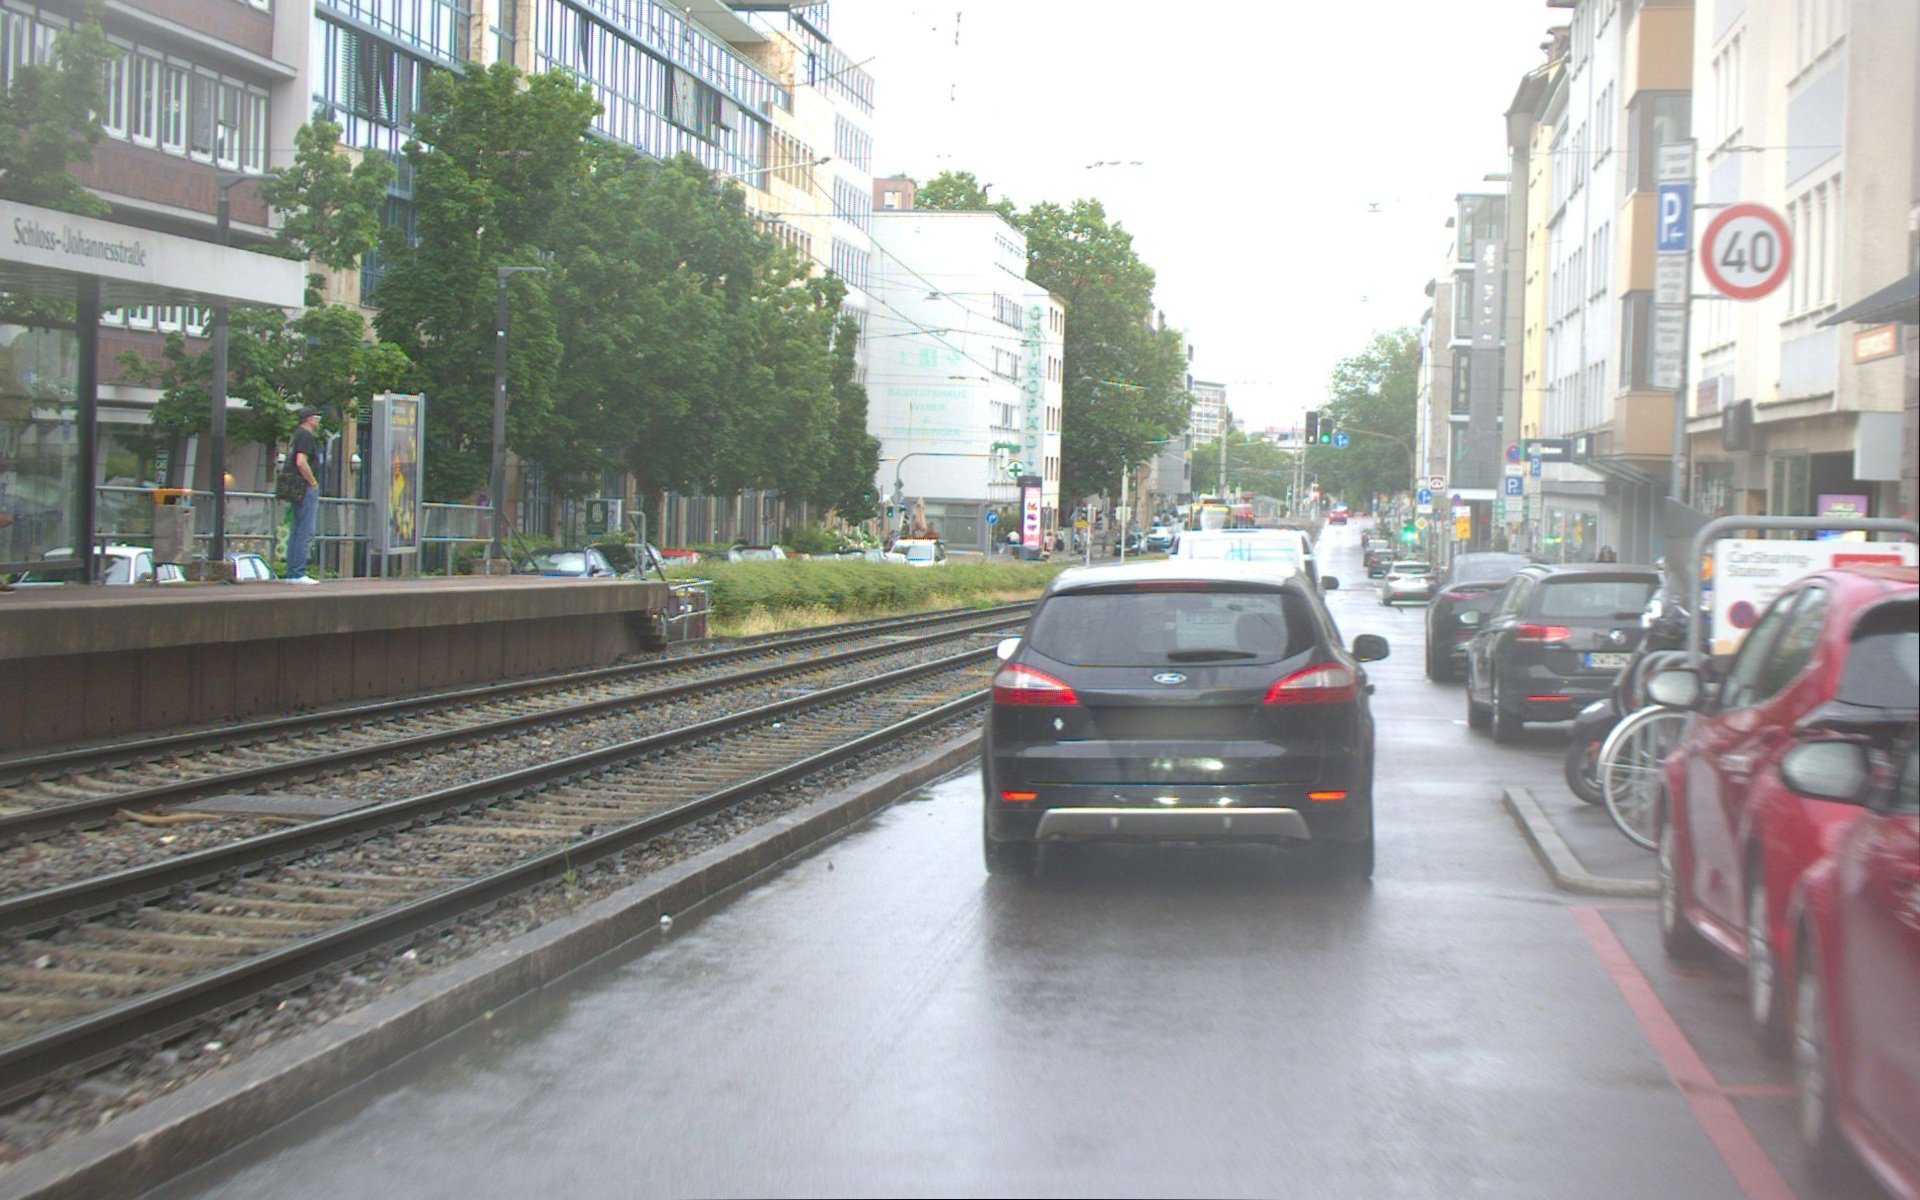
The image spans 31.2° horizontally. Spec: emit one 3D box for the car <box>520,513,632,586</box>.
[{"bbox_3d":[-7.833,-1.058,70.436,1.568,1.431,4.177,1,1,4],"label":"car"}]

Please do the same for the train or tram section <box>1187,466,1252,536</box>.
[{"bbox_3d":[14.631,-5.576,194.126,3.513,3.764,11.330,1,1,4],"label":"train or tram section"}]

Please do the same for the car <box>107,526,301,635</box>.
[{"bbox_3d":[-10.599,-0.309,48.450,1.568,1.431,4.177,1,1,4],"label":"car"}]

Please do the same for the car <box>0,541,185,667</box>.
[{"bbox_3d":[-11.065,0.012,42.918,1.568,1.431,4.238,1,1,4],"label":"car"}]

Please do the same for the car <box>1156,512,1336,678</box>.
[{"bbox_3d":[3.530,-0.085,41.761,1.907,1.858,4.572,2,1,8],"label":"car"}]

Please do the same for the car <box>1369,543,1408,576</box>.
[{"bbox_3d":[22.071,-2.107,176.805,1.907,1.627,4.572,2,1,8],"label":"car"}]

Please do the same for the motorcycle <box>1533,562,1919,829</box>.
[{"bbox_3d":[4.345,0.507,19.253,2.087,1.402,0.798,1,1,25],"label":"motorcycle"}]

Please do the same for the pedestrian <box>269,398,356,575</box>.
[{"bbox_3d":[-6.673,-1.168,35.431,0.655,1.795,0.850,1,1,5],"label":"pedestrian"}]

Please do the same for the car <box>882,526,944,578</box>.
[{"bbox_3d":[-1.709,-1.763,126.385,1.907,1.858,4.573,1,1,4],"label":"car"}]

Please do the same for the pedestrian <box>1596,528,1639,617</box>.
[{"bbox_3d":[12.427,-0.526,64.990,0.695,1.646,0.965,1,1,6],"label":"pedestrian"}]

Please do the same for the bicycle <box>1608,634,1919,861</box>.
[{"bbox_3d":[4.021,0.699,16.387,1.787,1.027,0.462,1,1,6],"label":"bicycle"}]

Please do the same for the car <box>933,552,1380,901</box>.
[{"bbox_3d":[1.055,0.523,16.651,1.907,1.457,3.444,2,1,7],"label":"car"}]

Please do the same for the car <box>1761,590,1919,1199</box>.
[{"bbox_3d":[2.665,0.733,6.928,1.699,1.474,3.866,-1,1,8],"label":"car"}]

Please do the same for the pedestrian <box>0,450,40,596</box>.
[{"bbox_3d":[-7.684,-0.606,26.675,0.892,1.119,0.850,1,1,-4],"label":"pedestrian"}]

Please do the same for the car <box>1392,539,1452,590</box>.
[{"bbox_3d":[15.422,-1.197,114.702,1.907,1.627,4.572,2,1,8],"label":"car"}]

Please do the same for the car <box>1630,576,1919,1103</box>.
[{"bbox_3d":[3.263,0.663,11.581,1.699,1.457,3.866,-1,1,7],"label":"car"}]

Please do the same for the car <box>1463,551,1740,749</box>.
[{"bbox_3d":[5.338,0.357,29.105,1.774,1.463,4.609,1,1,4],"label":"car"}]

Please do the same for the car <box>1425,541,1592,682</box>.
[{"bbox_3d":[6.929,0.098,43.828,1.808,1.626,5.168,1,1,6],"label":"car"}]
